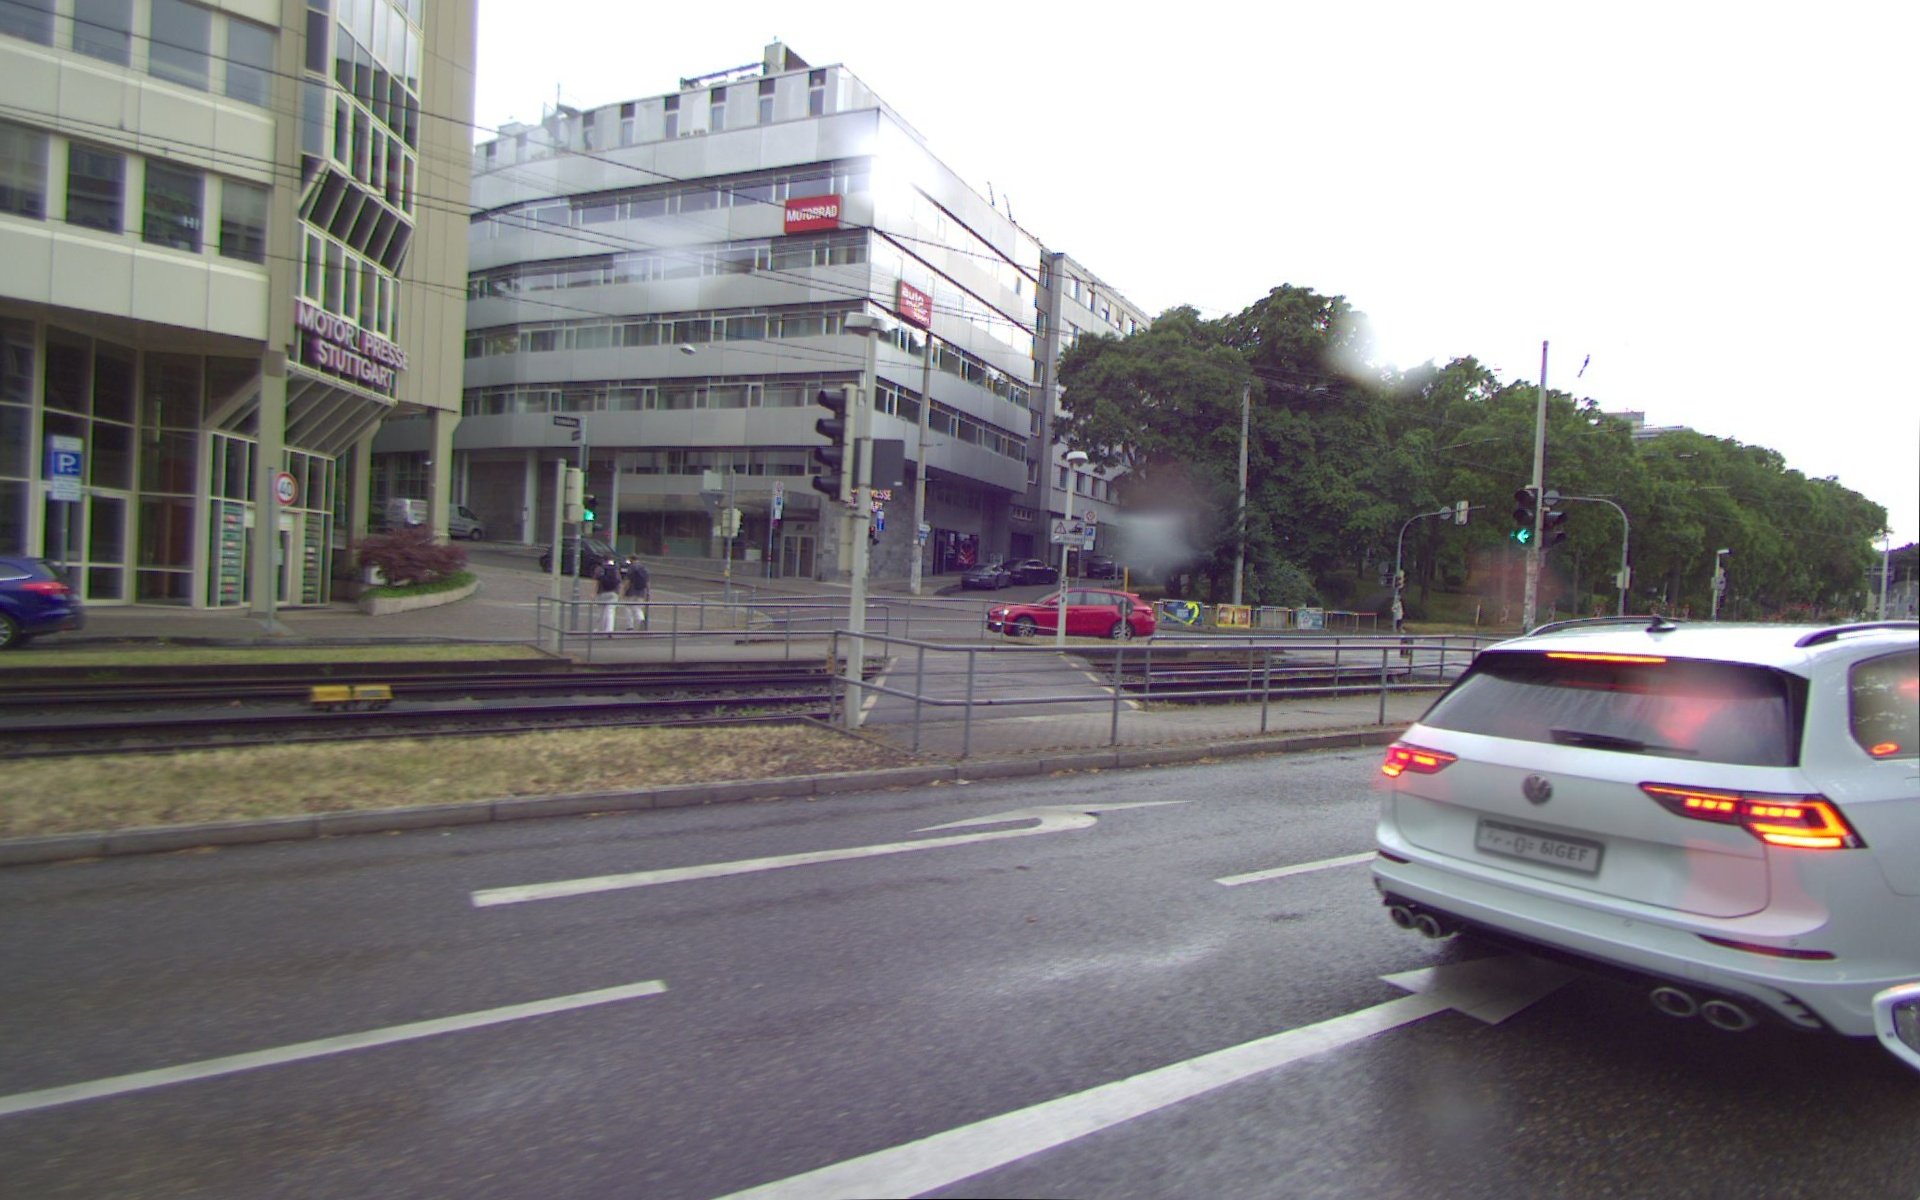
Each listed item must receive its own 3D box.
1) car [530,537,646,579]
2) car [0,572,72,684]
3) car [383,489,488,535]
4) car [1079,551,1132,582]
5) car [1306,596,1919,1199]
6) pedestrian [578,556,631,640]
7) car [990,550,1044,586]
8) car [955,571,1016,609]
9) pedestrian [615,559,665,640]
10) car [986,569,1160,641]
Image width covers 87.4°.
[{"bbox_3d":[-14.628,-1.651,39.563,3.920,1.383,1.830,5,2,16],"label":"car"},{"bbox_3d":[-16.375,0.360,14.990,4.509,1.603,1.978,2,3,-38],"label":"car"},{"bbox_3d":[-28.526,-4.745,54.807,1.963,2.040,4.831,5,2,26],"label":"car"},{"bbox_3d":[9.889,-2.250,68.019,1.964,1.818,4.202,5,2,30],"label":"car"},{"bbox_3d":[3.628,0.842,4.368,4.203,1.597,1.670,1,1,-31],"label":"car"},{"bbox_3d":[-7.880,-0.046,22.261,0.630,1.811,0.808,5,3,36],"label":"pedestrian"},{"bbox_3d":[3.304,-1.864,57.730,1.961,1.818,3.998,5,5,19],"label":"car"},{"bbox_3d":[1.411,-0.543,52.868,1.961,1.818,3.999,5,2,19],"label":"car"},{"bbox_3d":[-7.388,-0.006,23.222,0.630,1.811,0.808,5,3,36],"label":"pedestrian"},{"bbox_3d":[3.015,0.113,27.332,4.334,1.662,1.985,3,1,-5],"label":"car"}]
